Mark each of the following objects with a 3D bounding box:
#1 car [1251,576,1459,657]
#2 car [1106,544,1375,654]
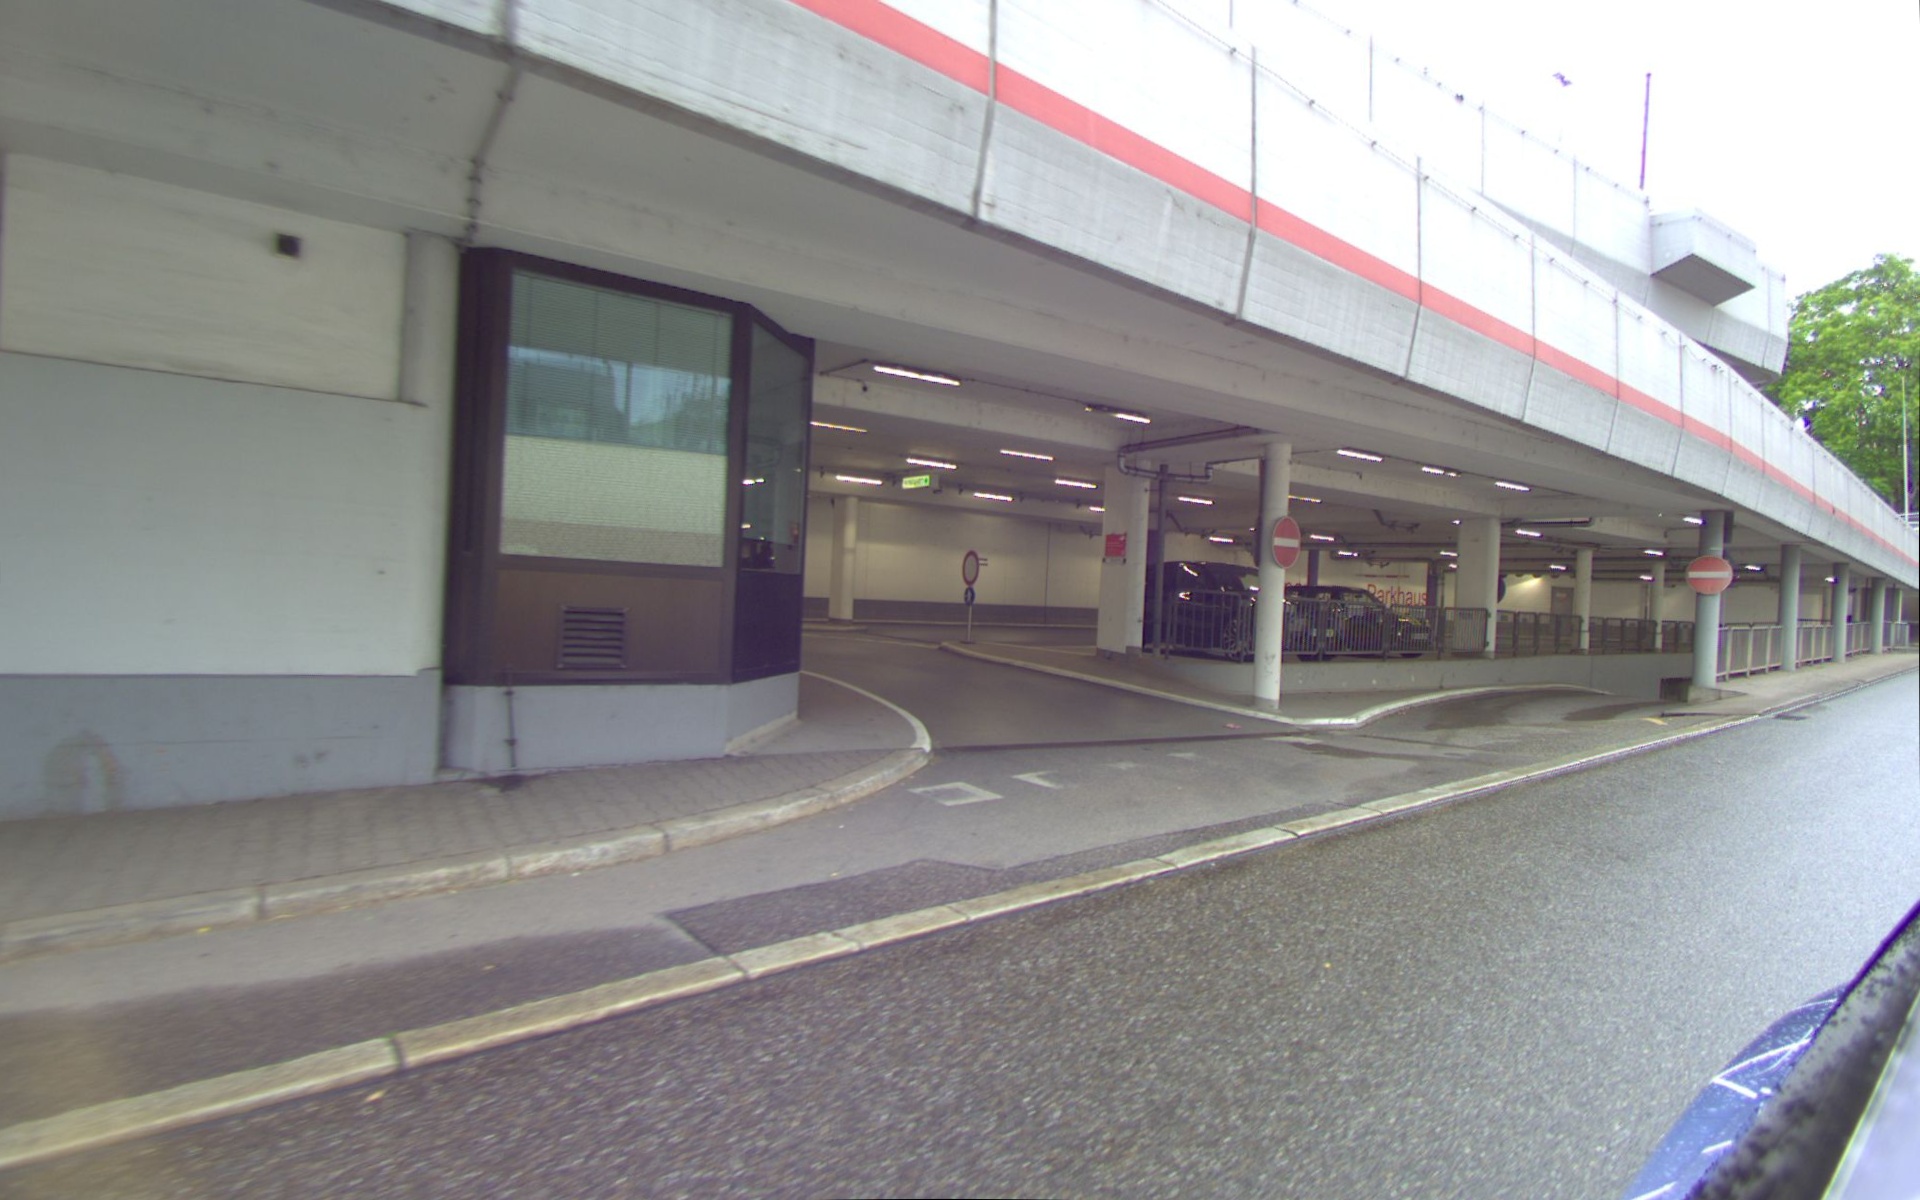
[{"bbox_3d":[8.233,0.303,21.379,1.772,1.524,3.737,3,0,-33],"label":"car"},{"bbox_3d":[4.701,0.016,17.704,1.785,1.661,4.594,1,-1,-30],"label":"car"}]
